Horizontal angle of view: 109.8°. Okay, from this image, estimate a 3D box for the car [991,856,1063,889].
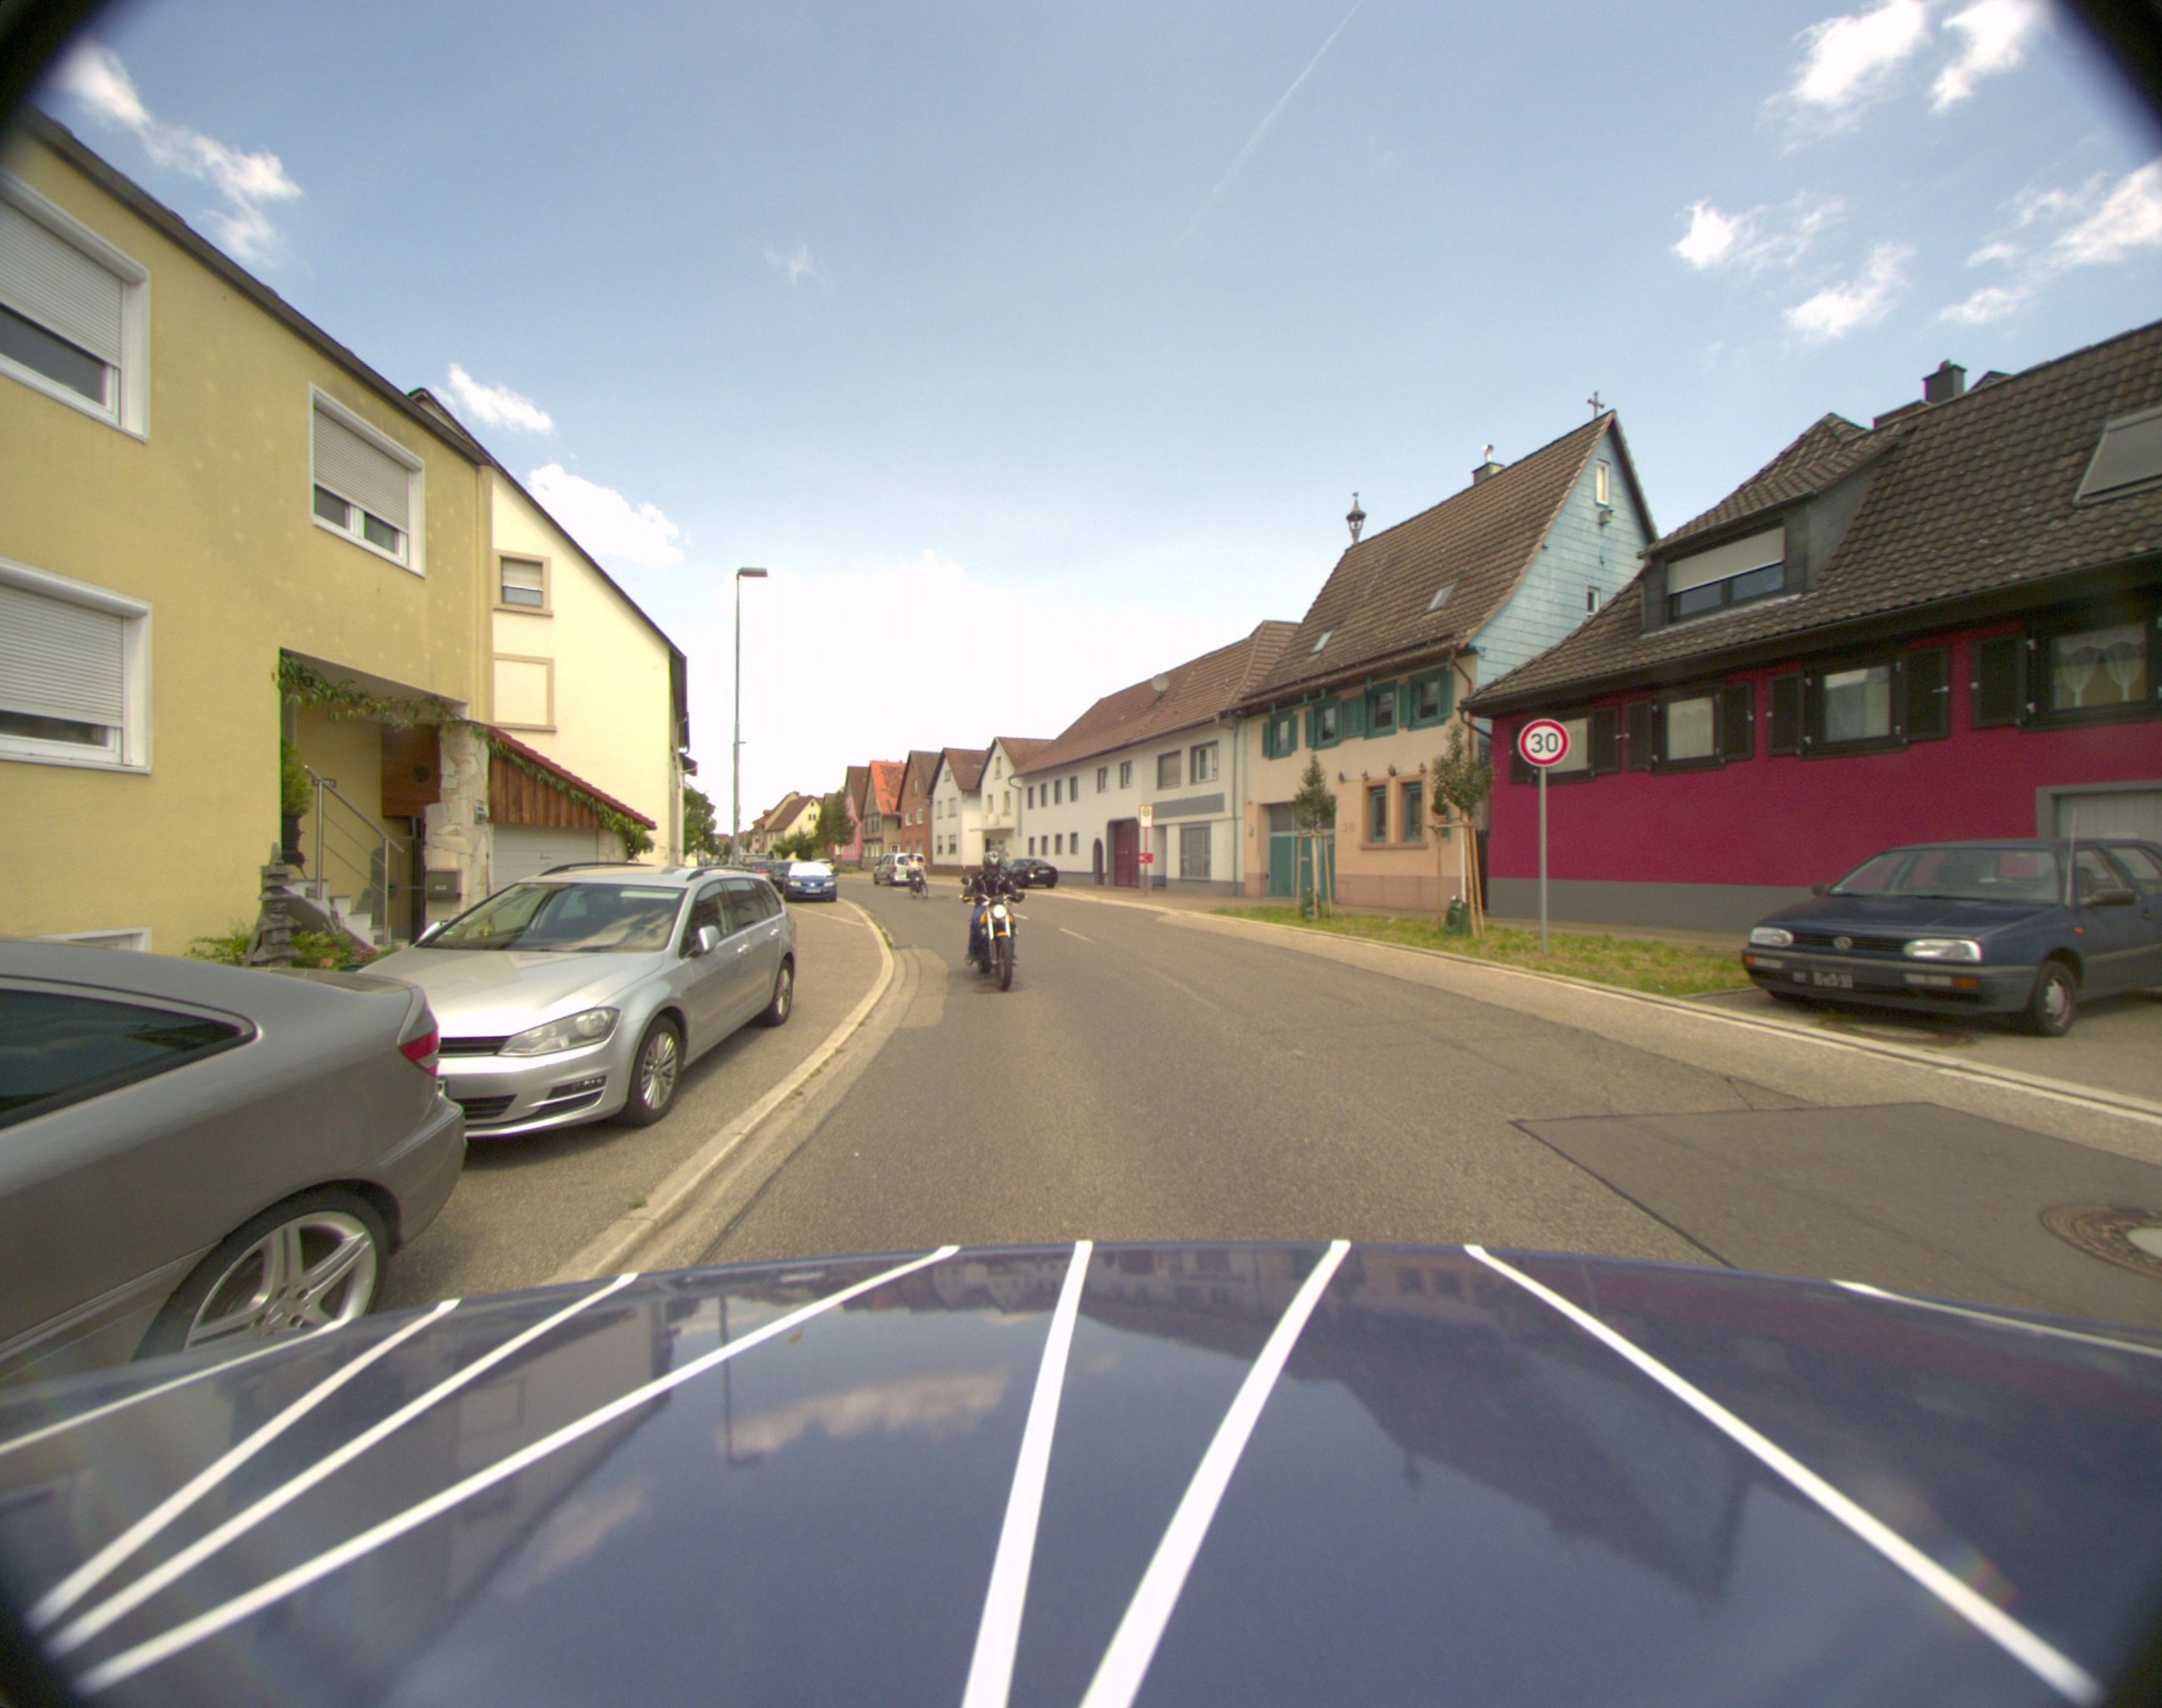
[{"bbox_3d":[-2.626,0.852,35.815,1.812,1.412,4.541,-2,0,-25],"label":"car"}]

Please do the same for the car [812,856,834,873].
[{"bbox_3d":[-26.870,1.066,79.026,1.687,1.521,3.491,-2,2,-26],"label":"car"}]

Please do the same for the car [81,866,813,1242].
[{"bbox_3d":[-3.484,0.916,5.471,1.890,1.521,4.333,2,0,-5],"label":"car"}]

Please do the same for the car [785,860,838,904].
[{"bbox_3d":[-10.045,0.982,28.296,1.730,1.377,3.992,0,1,-20],"label":"car"}]

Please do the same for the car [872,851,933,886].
[{"bbox_3d":[-10.180,0.757,43.042,2.003,1.790,4.923,-2,2,-30],"label":"car"}]

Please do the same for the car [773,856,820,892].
[{"bbox_3d":[-13.115,0.938,34.909,1.776,1.520,3.993,-1,-2,-24],"label":"car"}]

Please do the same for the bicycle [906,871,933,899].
[{"bbox_3d":[-6.214,1.191,29.311,0.934,1.005,1.923,-1,-1,-10],"label":"bicycle"}]

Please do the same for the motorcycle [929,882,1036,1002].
[{"bbox_3d":[-1.172,1.033,9.621,0.985,1.233,2.103,-2,0,1],"label":"motorcycle"}]

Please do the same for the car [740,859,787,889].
[{"bbox_3d":[-18.497,1.117,44.197,1.669,1.638,3.990,-2,1,-35],"label":"car"}]

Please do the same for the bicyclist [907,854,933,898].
[{"bbox_3d":[-6.246,0.842,29.450,0.910,1.679,0.760,-1,2,-10],"label":"bicyclist"}]

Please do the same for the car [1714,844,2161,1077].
[{"bbox_3d":[7.678,0.690,6.468,3.983,1.455,1.718,-2,1,-19],"label":"car"}]

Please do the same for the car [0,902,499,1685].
[{"bbox_3d":[-3.000,0.951,0.571,1.775,1.392,4.423,2,1,-1],"label":"car"}]

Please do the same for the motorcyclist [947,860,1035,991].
[{"bbox_3d":[-1.148,0.896,9.869,1.000,1.591,0.799,-1,2,1],"label":"motorcyclist"}]
